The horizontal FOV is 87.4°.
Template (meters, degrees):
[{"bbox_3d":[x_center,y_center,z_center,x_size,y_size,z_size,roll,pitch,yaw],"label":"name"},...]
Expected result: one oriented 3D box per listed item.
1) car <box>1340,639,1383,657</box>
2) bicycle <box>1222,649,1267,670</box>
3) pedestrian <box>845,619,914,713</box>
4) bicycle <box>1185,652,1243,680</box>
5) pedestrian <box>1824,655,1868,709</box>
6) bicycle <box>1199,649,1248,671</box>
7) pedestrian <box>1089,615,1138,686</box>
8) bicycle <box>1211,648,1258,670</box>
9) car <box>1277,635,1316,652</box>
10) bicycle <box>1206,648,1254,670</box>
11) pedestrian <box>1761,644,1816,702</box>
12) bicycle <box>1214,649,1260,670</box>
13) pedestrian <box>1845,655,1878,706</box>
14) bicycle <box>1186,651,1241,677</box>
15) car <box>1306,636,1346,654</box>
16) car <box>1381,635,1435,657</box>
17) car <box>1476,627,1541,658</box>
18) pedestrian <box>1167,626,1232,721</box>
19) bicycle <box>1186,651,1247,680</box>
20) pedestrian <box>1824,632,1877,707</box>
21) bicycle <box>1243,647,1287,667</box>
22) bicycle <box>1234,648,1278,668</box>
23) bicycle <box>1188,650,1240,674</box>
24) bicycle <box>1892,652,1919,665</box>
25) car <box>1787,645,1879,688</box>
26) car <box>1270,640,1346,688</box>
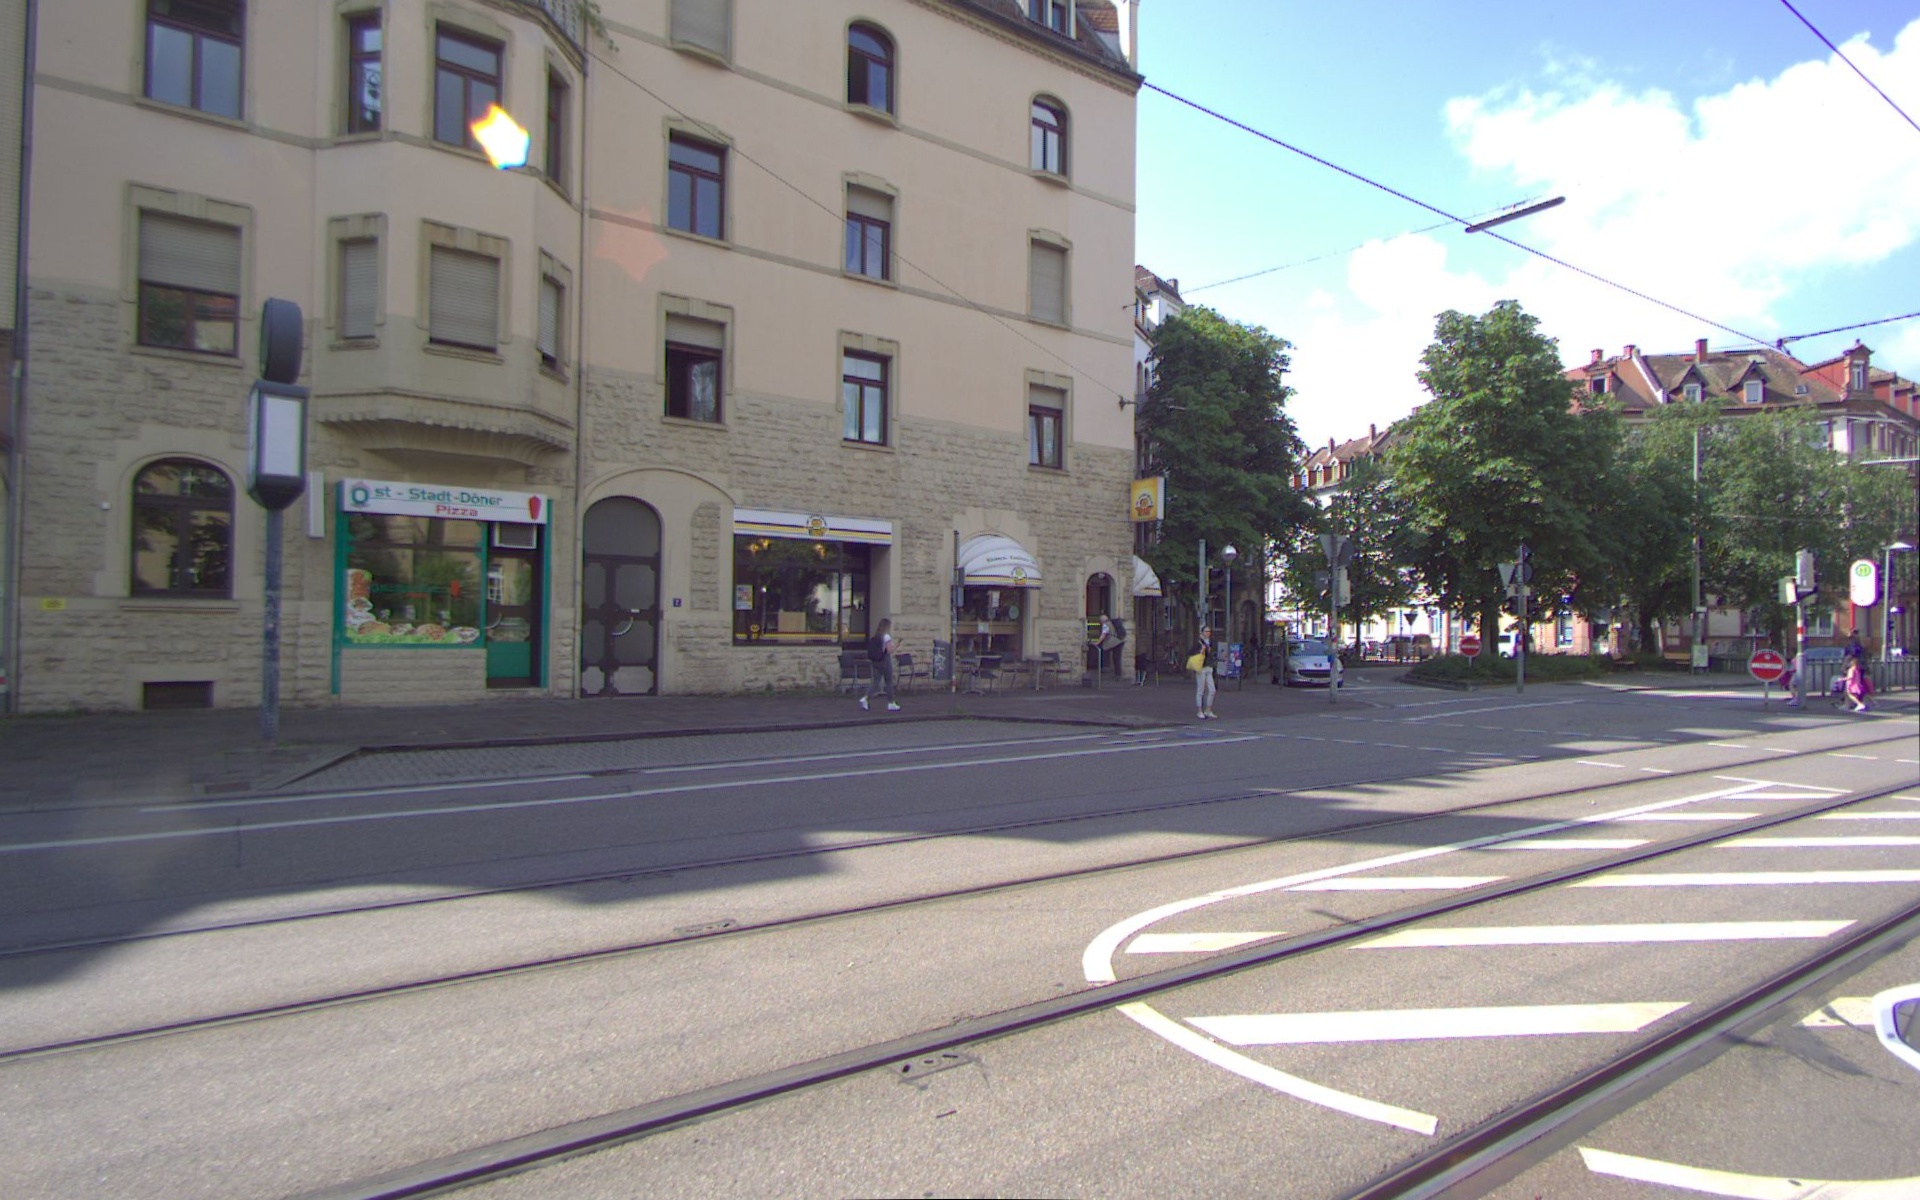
[{"bbox_3d":[33.059,3.936,82.723,1.468,1.411,3.686,1,-2,-13],"label":"car"},{"bbox_3d":[13.674,2.862,48.292,1.994,0.910,0.571,1,-2,29],"label":"bicycle"},{"bbox_3d":[-1.425,1.147,17.770,0.685,1.562,0.958,4,2,41],"label":"pedestrian"},{"bbox_3d":[9.046,2.354,35.840,1.990,0.894,0.512,2,-2,12],"label":"bicycle"},{"bbox_3d":[18.955,1.739,21.488,0.440,1.128,0.636,2,-2,-38],"label":"pedestrian"},{"bbox_3d":[11.648,2.643,44.391,1.992,0.910,0.546,1,-2,22],"label":"bicycle"},{"bbox_3d":[3.761,1.228,24.641,0.849,1.694,0.814,2,-2,-35],"label":"pedestrian"},{"bbox_3d":[12.672,2.705,46.384,1.993,0.910,0.571,1,-2,26],"label":"bicycle"},{"bbox_3d":[31.047,3.995,92.822,1.687,1.575,3.912,1,-2,-12],"label":"car"},{"bbox_3d":[12.236,2.681,45.507,1.992,0.910,0.572,1,-2,23],"label":"bicycle"},{"bbox_3d":[19.296,1.702,23.403,0.711,1.320,0.819,2,-4,-38],"label":"pedestrian"},{"bbox_3d":[13.011,2.795,47.110,1.993,0.910,0.571,1,-2,26],"label":"bicycle"},{"bbox_3d":[19.886,1.771,22.154,0.419,1.122,0.434,2,-4,-38],"label":"pedestrian"},{"bbox_3d":[9.679,2.447,38.352,1.990,0.894,0.512,2,-2,12],"label":"bicycle"},{"bbox_3d":[32.084,3.953,88.111,1.602,1.513,3.638,1,-2,-13],"label":"car"},{"bbox_3d":[34.440,3.516,77.382,1.882,1.685,3.934,1,-2,-11],"label":"car"},{"bbox_3d":[36.916,2.860,67.736,1.823,2.015,3.941,1,-2,-10],"label":"car"},{"bbox_3d":[4.586,1.383,19.241,0.865,1.727,0.751,2,2,-35],"label":"pedestrian"},{"bbox_3d":[8.808,2.239,34.512,1.990,0.894,0.523,2,-2,12],"label":"bicycle"},{"bbox_3d":[19.386,1.501,21.865,0.792,1.586,0.722,2,-2,-38],"label":"pedestrian"},{"bbox_3d":[15.189,2.829,50.052,1.994,0.910,0.571,1,-2,29],"label":"bicycle"},{"bbox_3d":[14.554,2.835,49.405,1.994,0.910,0.571,1,-2,29],"label":"bicycle"},{"bbox_3d":[10.111,2.467,40.015,1.990,0.894,0.547,2,-2,12],"label":"bicycle"},{"bbox_3d":[57.662,3.580,61.041,1.677,0.757,0.386,1,-2,2],"label":"bicycle"},{"bbox_3d":[29.831,2.248,34.295,3.403,1.405,1.614,2,-3,-36],"label":"car"},{"bbox_3d":[11.076,2.002,32.225,1.686,1.439,3.876,0,-2,9],"label":"car"}]
